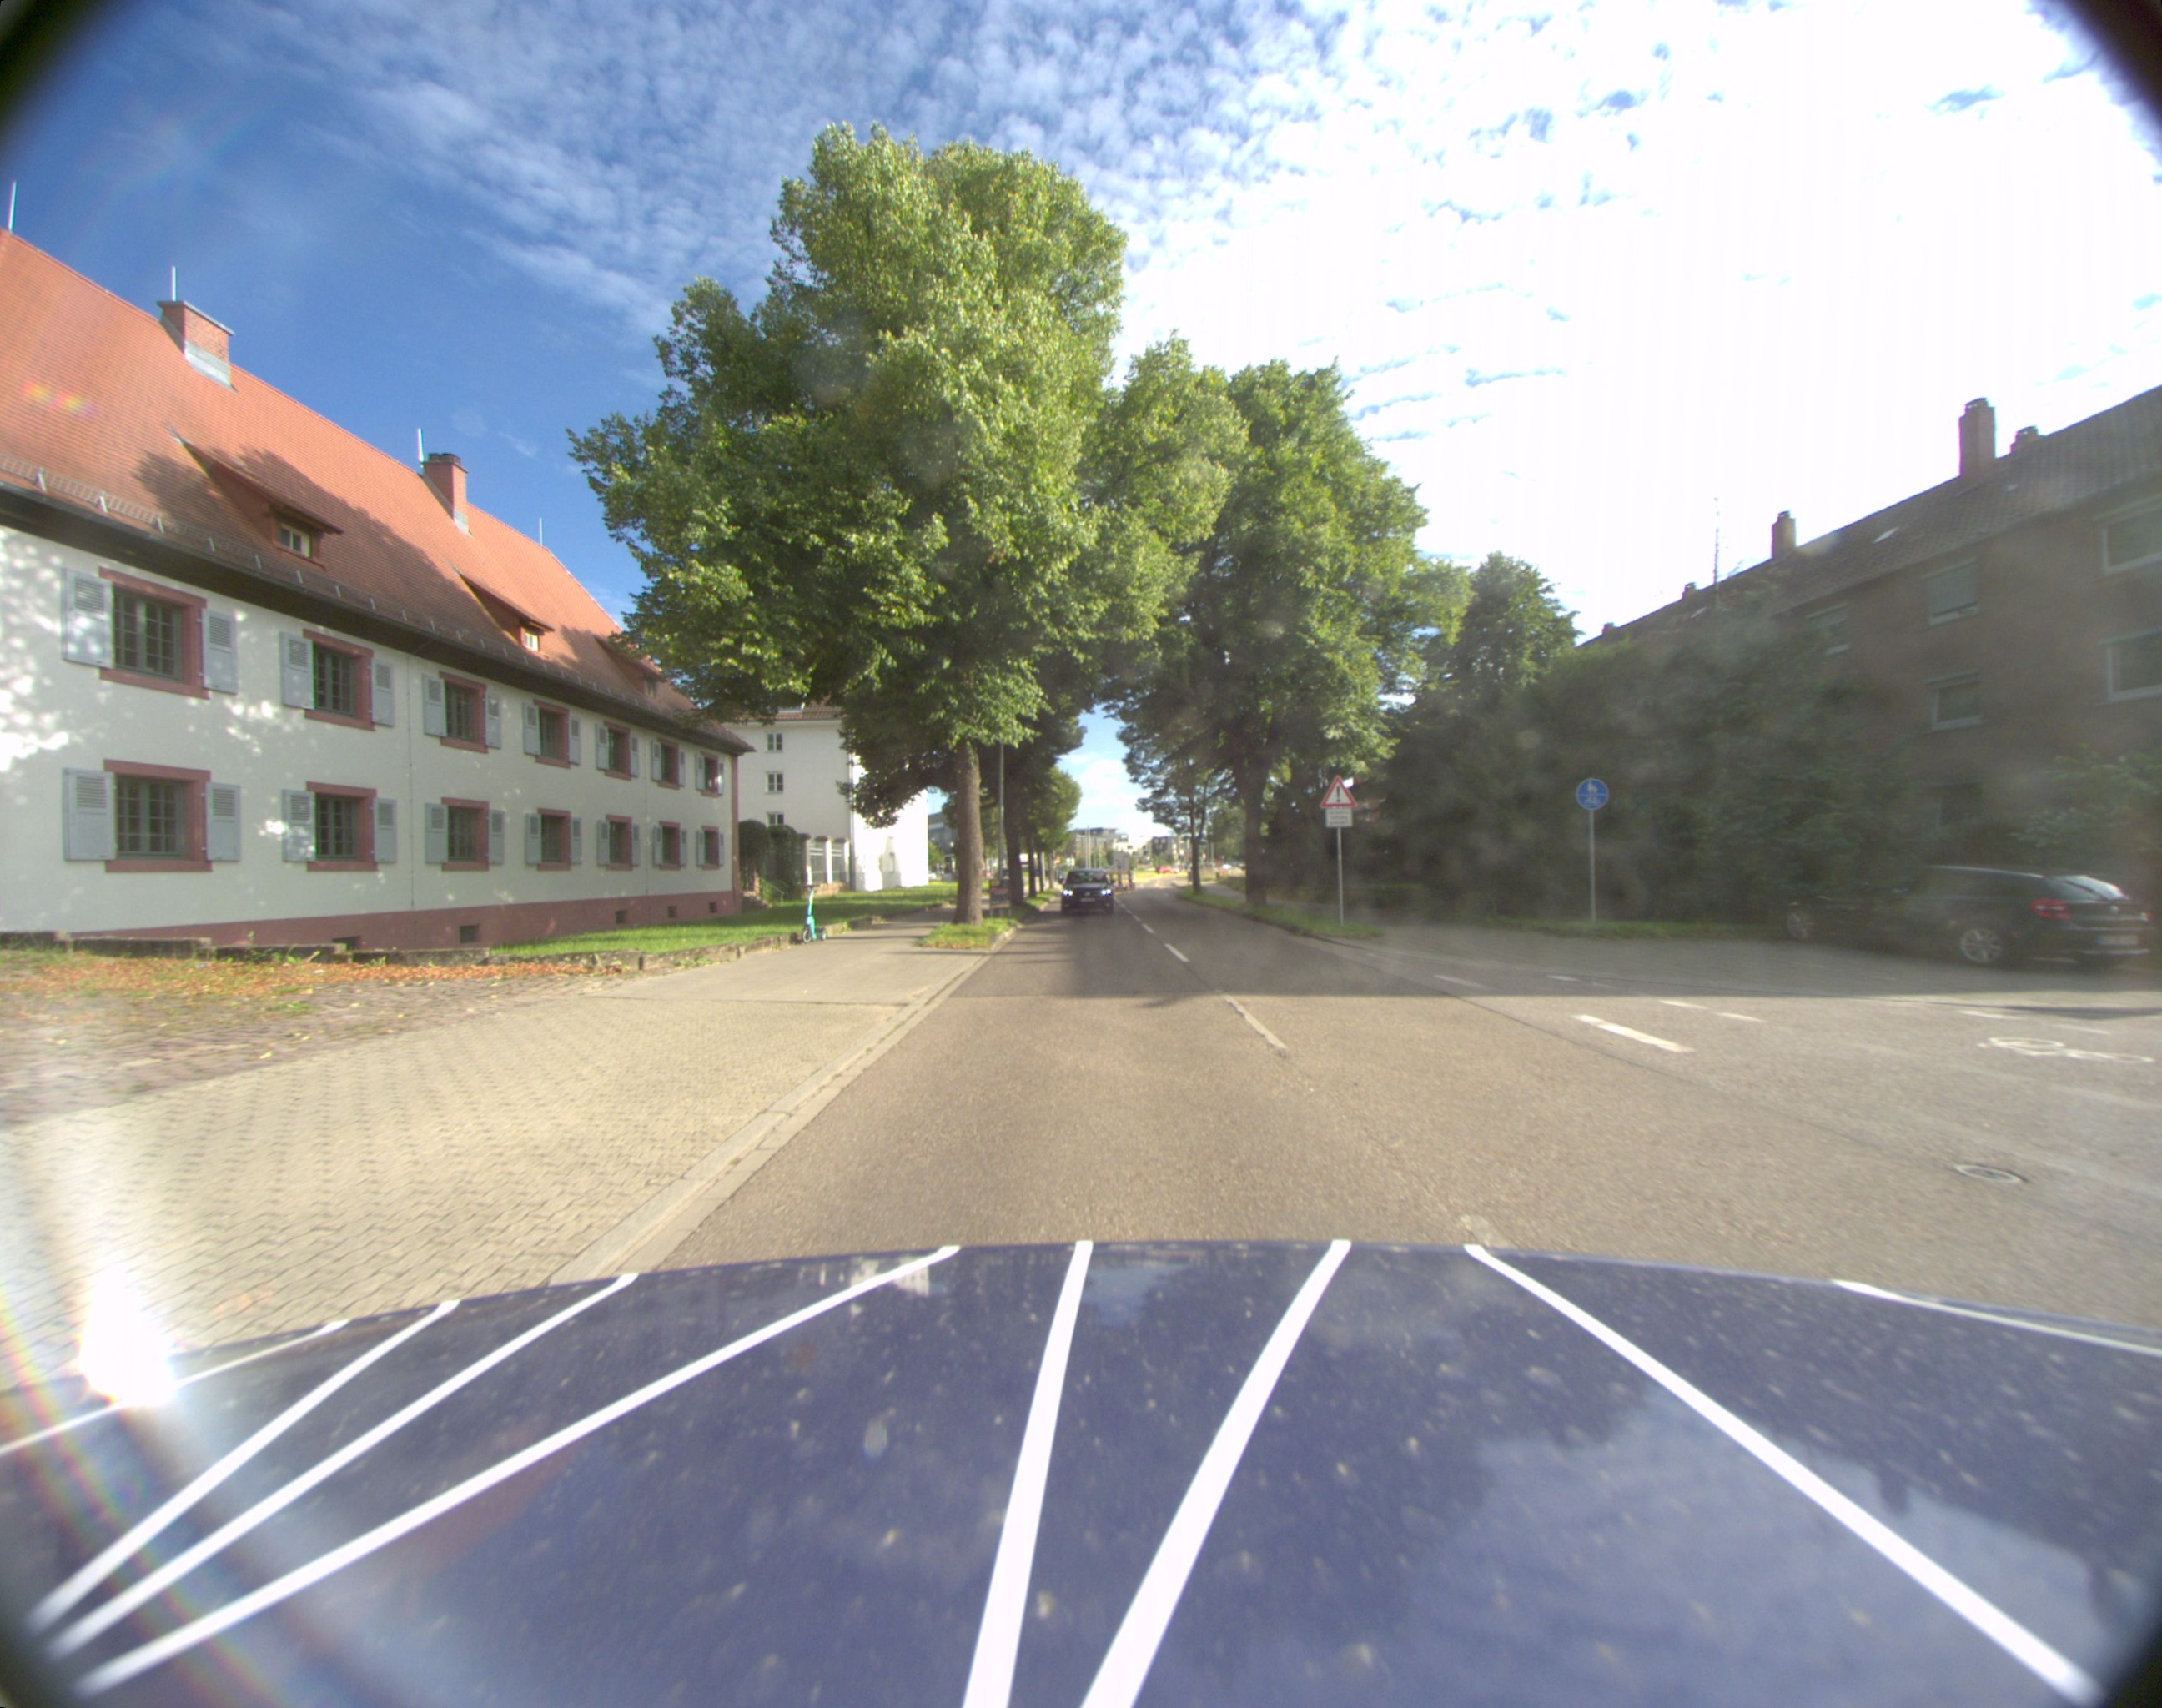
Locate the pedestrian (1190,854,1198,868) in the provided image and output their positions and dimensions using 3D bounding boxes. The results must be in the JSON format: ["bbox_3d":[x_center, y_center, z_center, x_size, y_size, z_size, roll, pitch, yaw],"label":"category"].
[{"bbox_3d":[15.305,0.938,102.634,0.710,1.813,0.744,-3,0,-20],"label":"pedestrian"}]

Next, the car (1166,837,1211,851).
[{"bbox_3d":[15.477,-1.432,109.903,2.482,1.856,6.235,-3,1,-43],"label":"car"}]

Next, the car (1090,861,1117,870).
[{"bbox_3d":[3.633,1.895,124.990,4.262,1.477,1.999,-2,0,-5],"label":"car"}]

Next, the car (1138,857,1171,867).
[{"bbox_3d":[12.271,1.288,126.821,4.870,1.515,2.303,-3,1,-13],"label":"car"}]

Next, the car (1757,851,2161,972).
[{"bbox_3d":[13.356,0.712,11.702,1.998,1.420,4.507,-1,1,2],"label":"car"}]

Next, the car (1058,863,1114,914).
[{"bbox_3d":[0.225,1.189,27.956,1.821,1.648,4.244,-3,-1,2],"label":"car"}]

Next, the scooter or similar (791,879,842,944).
[{"bbox_3d":[-5.647,1.208,16.291,0.580,1.284,1.381,1,0,2],"label":"scooter or similar"}]
